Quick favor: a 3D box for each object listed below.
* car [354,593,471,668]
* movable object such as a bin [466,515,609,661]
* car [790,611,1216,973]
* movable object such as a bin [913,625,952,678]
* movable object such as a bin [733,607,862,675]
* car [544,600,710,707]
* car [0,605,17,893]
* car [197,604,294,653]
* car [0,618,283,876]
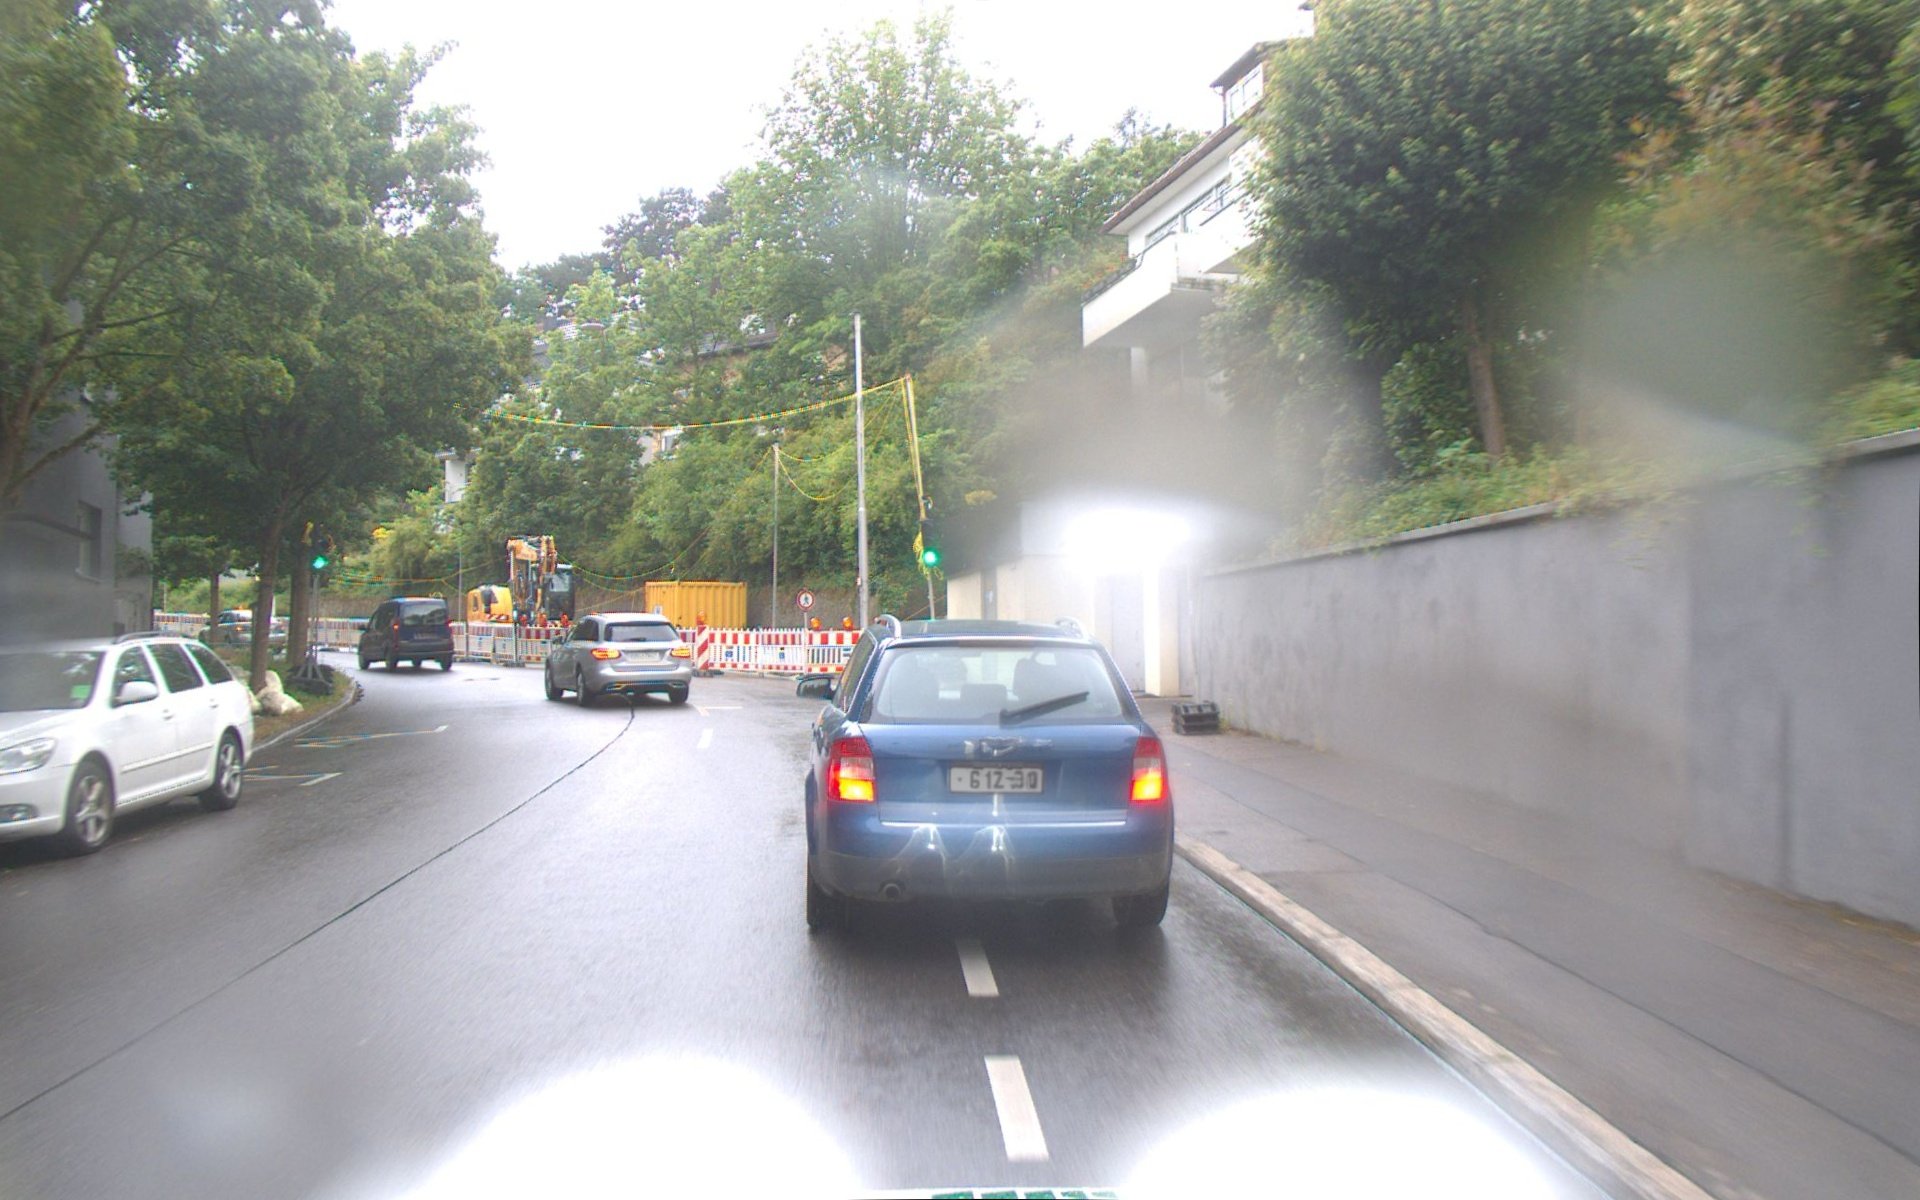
[{"bbox_3d":[-14.480,0.813,43.630,1.976,1.825,3.954,-2,0,-33],"label":"car"},{"bbox_3d":[-12.953,-0.343,50.261,2.785,4.084,7.265,0,0,-26],"label":"movable object such as a bin"},{"bbox_3d":[0.103,0.798,8.787,1.750,1.467,3.961,0,0,-2],"label":"car"},{"bbox_3d":[-0.565,1.042,33.808,0.706,1.050,0.591,-1,0,-9],"label":"movable object such as a bin"},{"bbox_3d":[-4.096,0.978,41.188,1.969,1.546,3.967,0,0,-26],"label":"movable object such as a bin"},{"bbox_3d":[-5.702,0.828,27.912,1.901,1.646,4.288,-1,0,-24],"label":"car"},{"bbox_3d":[-6.180,0.896,7.267,1.649,1.636,4.573,-3,0,-4],"label":"car"},{"bbox_3d":[-24.045,0.972,55.596,1.713,1.512,4.011,-2,0,-43],"label":"car"},{"bbox_3d":[-6.715,0.991,12.410,1.649,1.534,4.312,-4,0,-4],"label":"car"}]
